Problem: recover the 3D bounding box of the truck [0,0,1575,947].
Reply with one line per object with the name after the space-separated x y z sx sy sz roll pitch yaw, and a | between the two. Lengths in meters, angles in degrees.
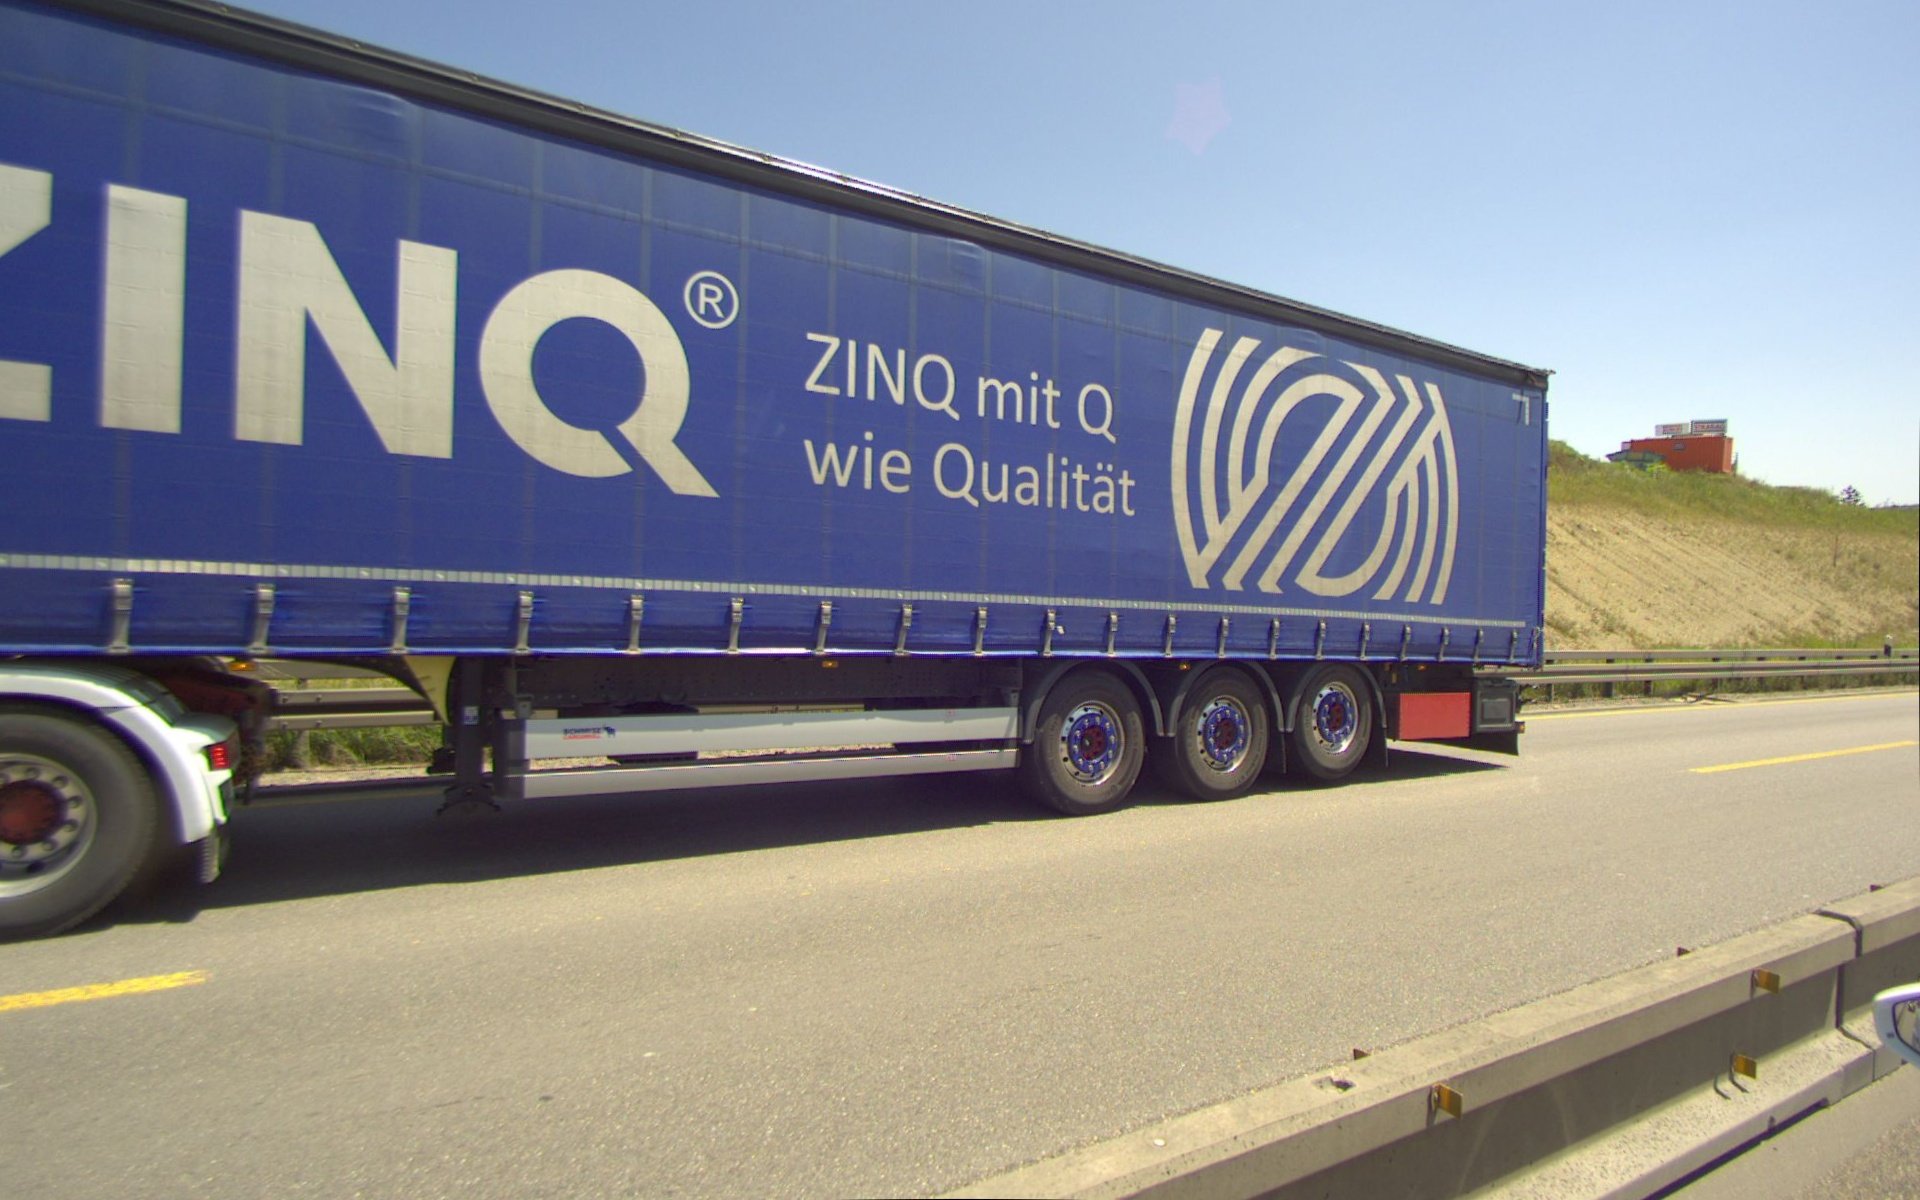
-0.682 -0.638 7.766 13.816 4.215 3.227 1 0 -31 | truck
